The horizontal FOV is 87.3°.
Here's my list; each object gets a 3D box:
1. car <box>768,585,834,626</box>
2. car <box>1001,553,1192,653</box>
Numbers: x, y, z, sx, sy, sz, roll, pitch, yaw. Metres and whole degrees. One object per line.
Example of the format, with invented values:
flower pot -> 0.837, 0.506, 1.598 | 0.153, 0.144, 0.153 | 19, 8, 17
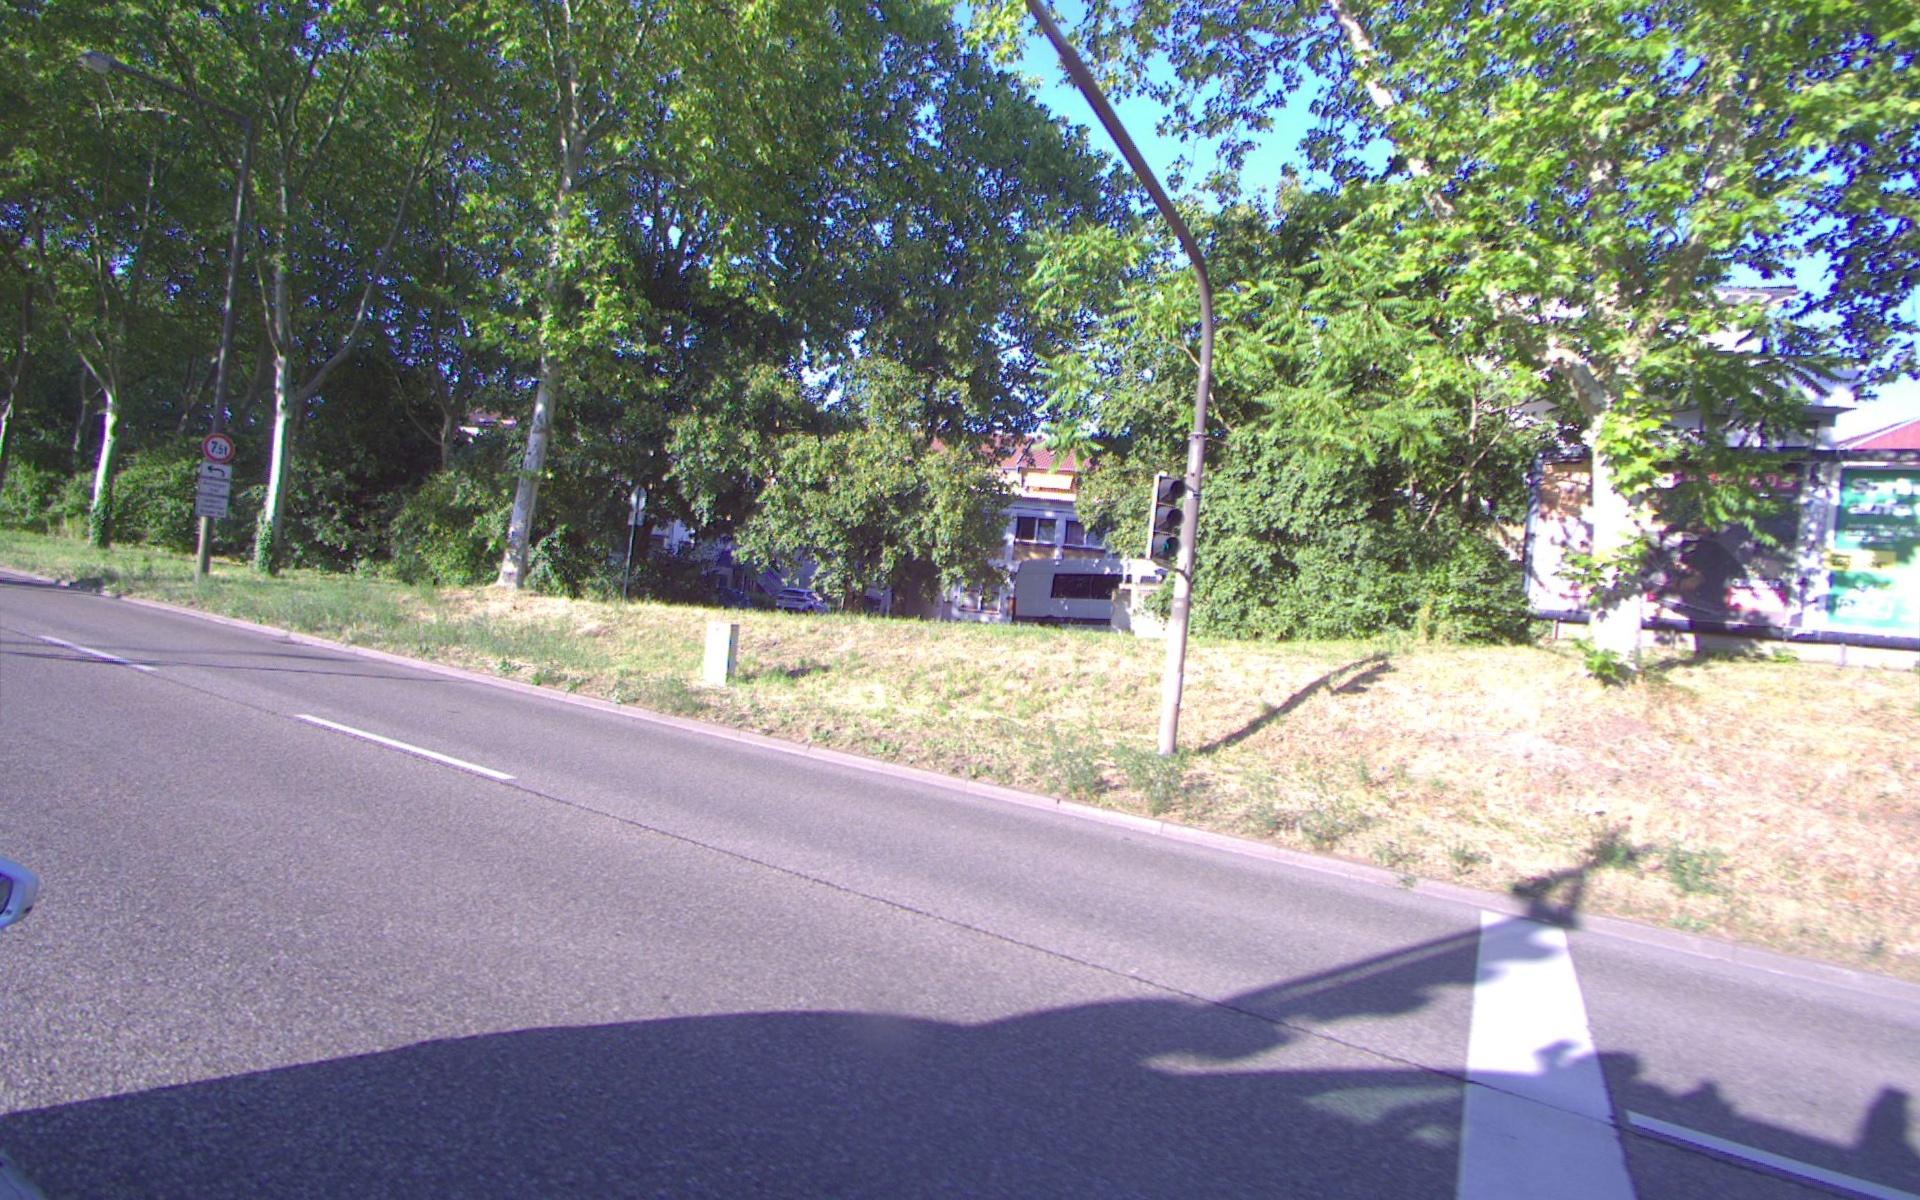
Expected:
car -> -8.450, 0.317, 53.675 | 1.882, 1.725, 4.005 | 7, -2, 14
car -> 4.202, 0.038, 31.656 | 5.541, 2.542, 1.802 | 6, -2, 36
